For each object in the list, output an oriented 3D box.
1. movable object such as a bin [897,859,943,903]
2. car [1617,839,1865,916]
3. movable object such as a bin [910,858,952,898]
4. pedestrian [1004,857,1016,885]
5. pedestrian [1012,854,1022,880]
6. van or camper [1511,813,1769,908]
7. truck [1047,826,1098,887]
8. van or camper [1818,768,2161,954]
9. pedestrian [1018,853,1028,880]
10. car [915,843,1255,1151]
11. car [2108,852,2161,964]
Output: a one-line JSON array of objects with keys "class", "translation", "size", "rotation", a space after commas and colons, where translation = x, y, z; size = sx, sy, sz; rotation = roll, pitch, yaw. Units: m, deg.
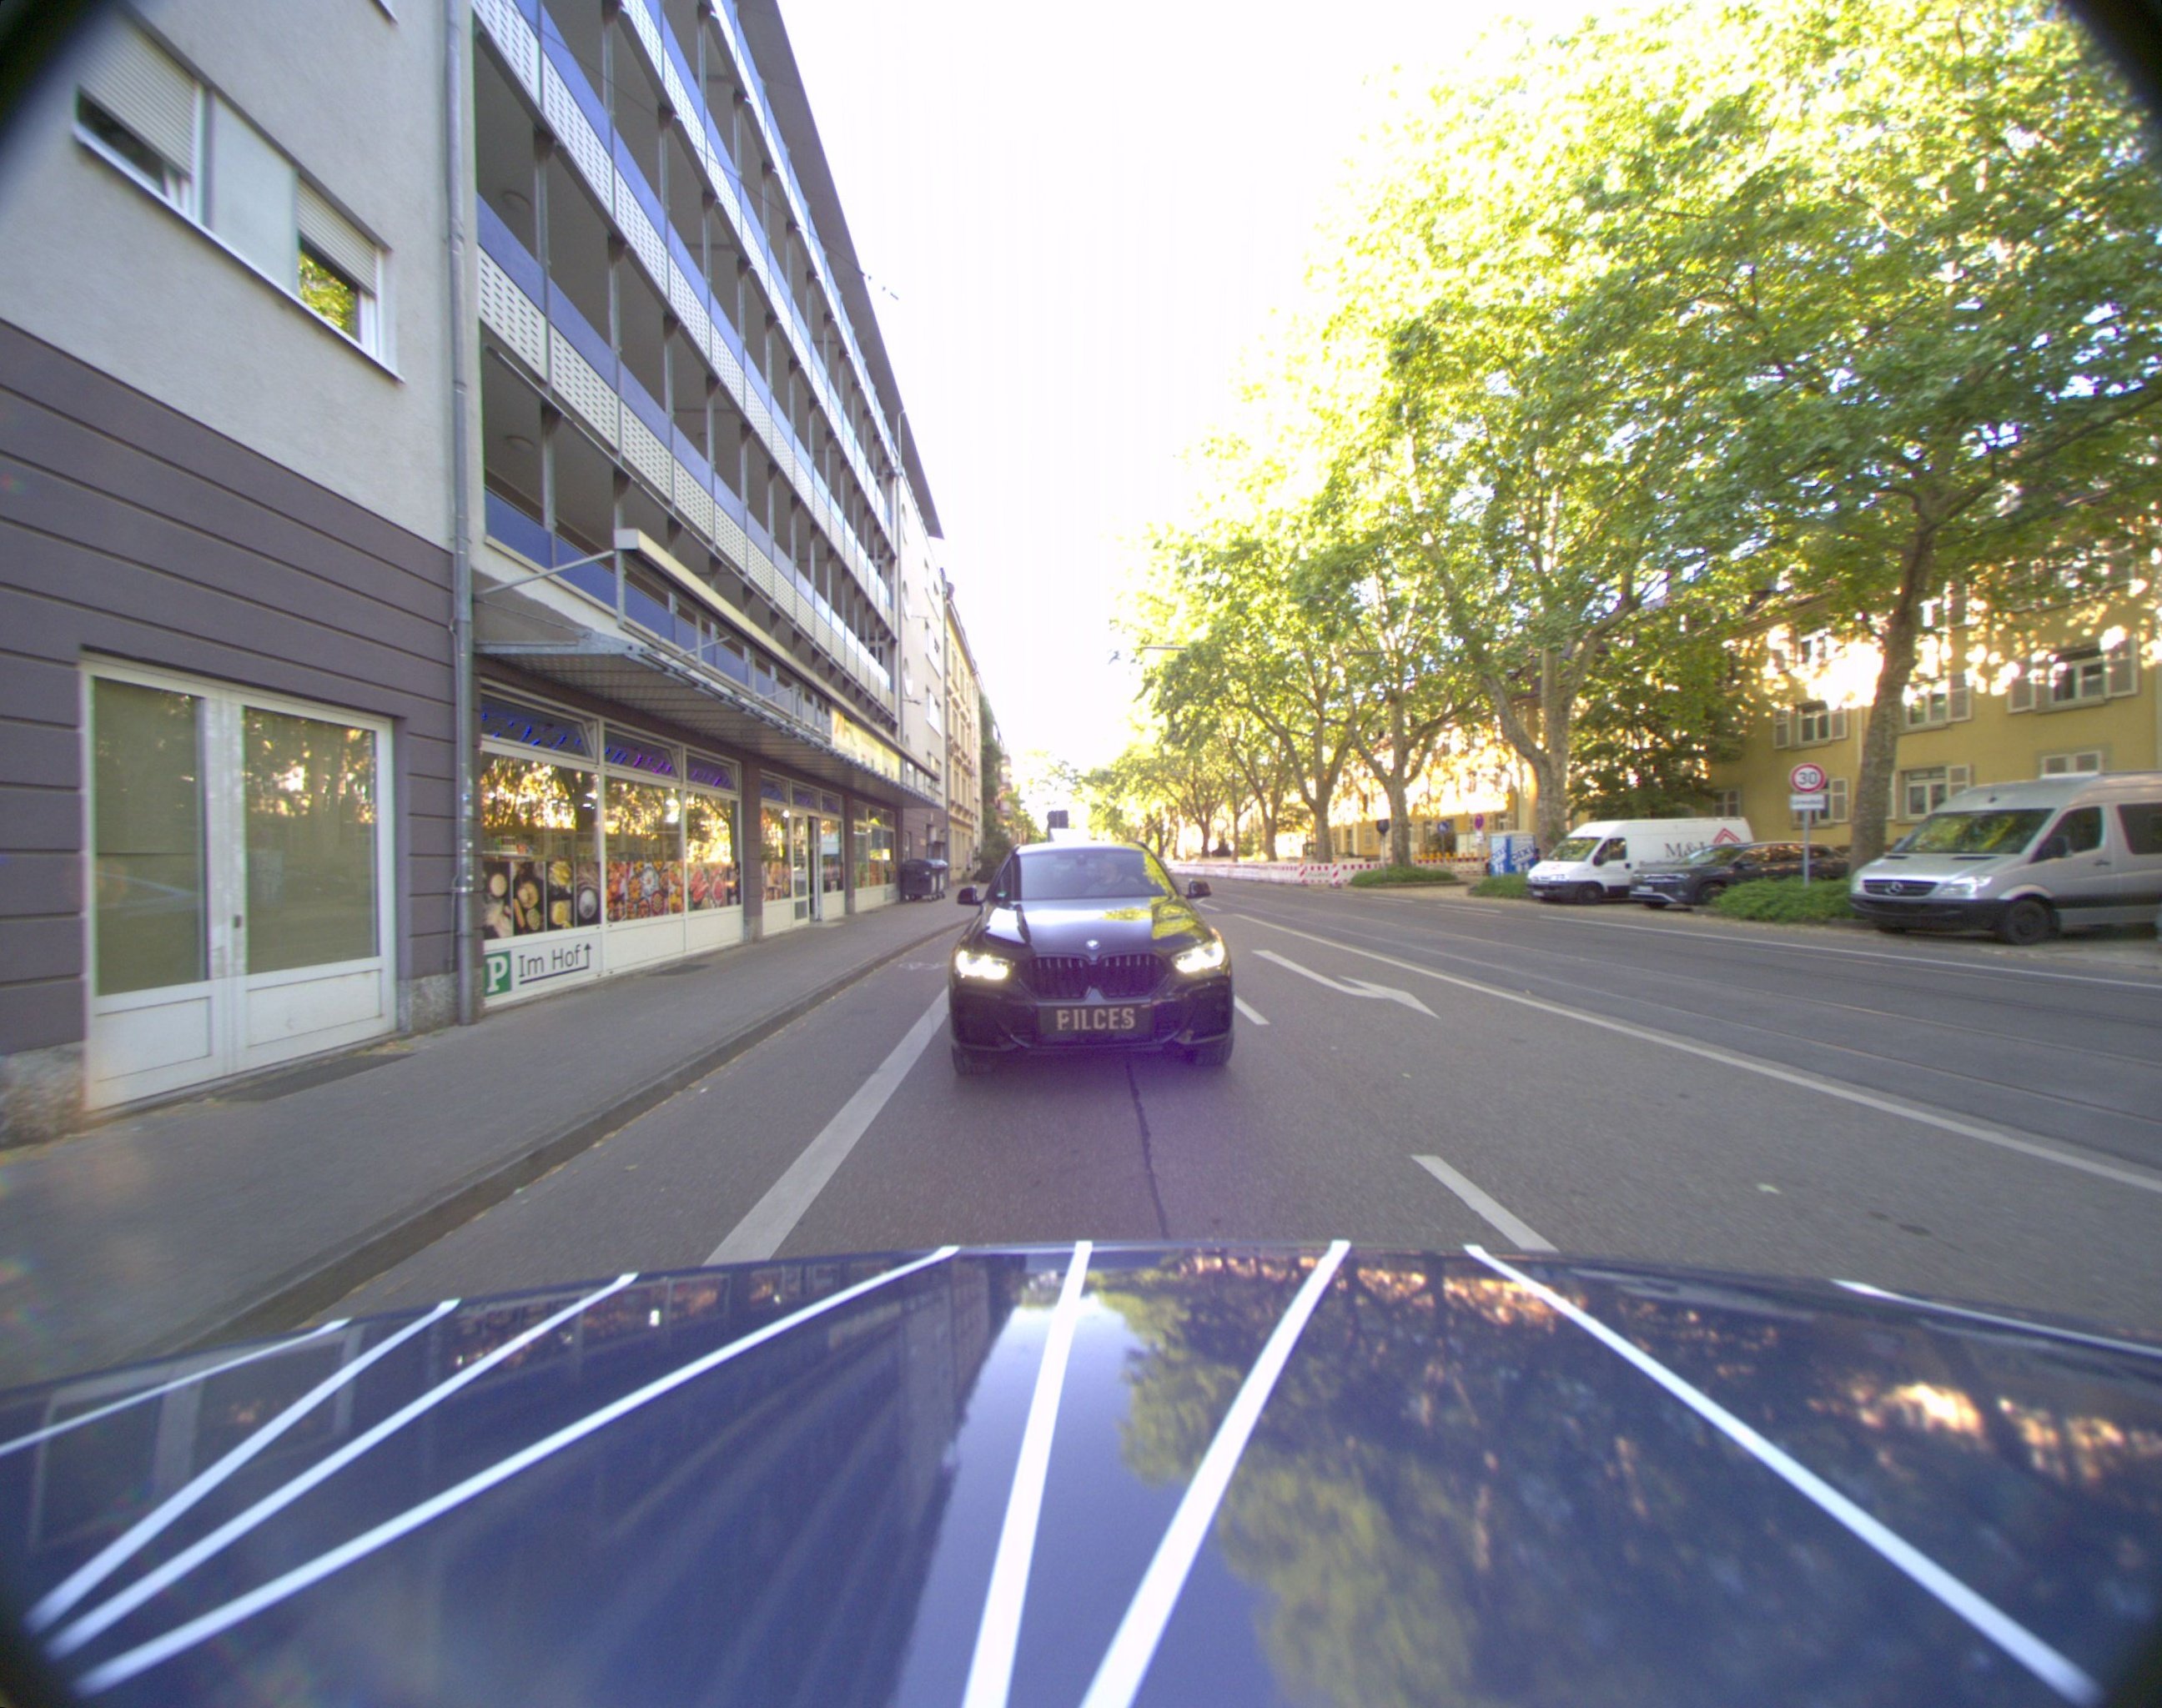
[{"class": "movable object such as a bin", "translation": [-5.374, 0.882, 25.460], "size": [1.203, 1.402, 1.372], "rotation": [-1, 0, 1]}, {"class": "car", "translation": [15.958, 0.536, 18.539], "size": [4.540, 1.624, 1.693], "rotation": [-2, 1, 1]}, {"class": "movable object such as a bin", "translation": [-5.404, 0.856, 27.459], "size": [1.203, 1.402, 1.372], "rotation": [-1, 0, 1]}, {"class": "pedestrian", "translation": [-3.793, 0.897, 40.433], "size": [0.541, 1.437, 0.630], "rotation": [-1, 0, 1]}, {"class": "pedestrian", "translation": [-4.161, 0.829, 49.257], "size": [0.541, 1.662, 0.513], "rotation": [-1, 0, 0]}, {"class": "van or camper", "translation": [15.828, 0.166, 21.749], "size": [5.763, 2.371, 2.156], "rotation": [-2, 1, 0]}, {"class": "truck", "translation": [-0.558, 0.096, 41.754], "size": [2.344, 3.096, 5.210], "rotation": [-2, 1, -4]}, {"class": "van or camper", "translation": [15.984, 0.031, 12.342], "size": [5.932, 2.633, 2.156], "rotation": [-2, 1, 0]}, {"class": "pedestrian", "translation": [-3.639, 0.762, 47.376], "size": [0.541, 1.662, 0.630], "rotation": [-1, 0, 1]}, {"class": "car", "translation": [0.061, 0.808, 6.791], "size": [1.930, 1.742, 4.683], "rotation": [-2, 1, 1]}, {"class": "car", "translation": [16.310, 0.653, 9.623], "size": [4.276, 1.438, 1.693], "rotation": [-2, 1, 1]}]
